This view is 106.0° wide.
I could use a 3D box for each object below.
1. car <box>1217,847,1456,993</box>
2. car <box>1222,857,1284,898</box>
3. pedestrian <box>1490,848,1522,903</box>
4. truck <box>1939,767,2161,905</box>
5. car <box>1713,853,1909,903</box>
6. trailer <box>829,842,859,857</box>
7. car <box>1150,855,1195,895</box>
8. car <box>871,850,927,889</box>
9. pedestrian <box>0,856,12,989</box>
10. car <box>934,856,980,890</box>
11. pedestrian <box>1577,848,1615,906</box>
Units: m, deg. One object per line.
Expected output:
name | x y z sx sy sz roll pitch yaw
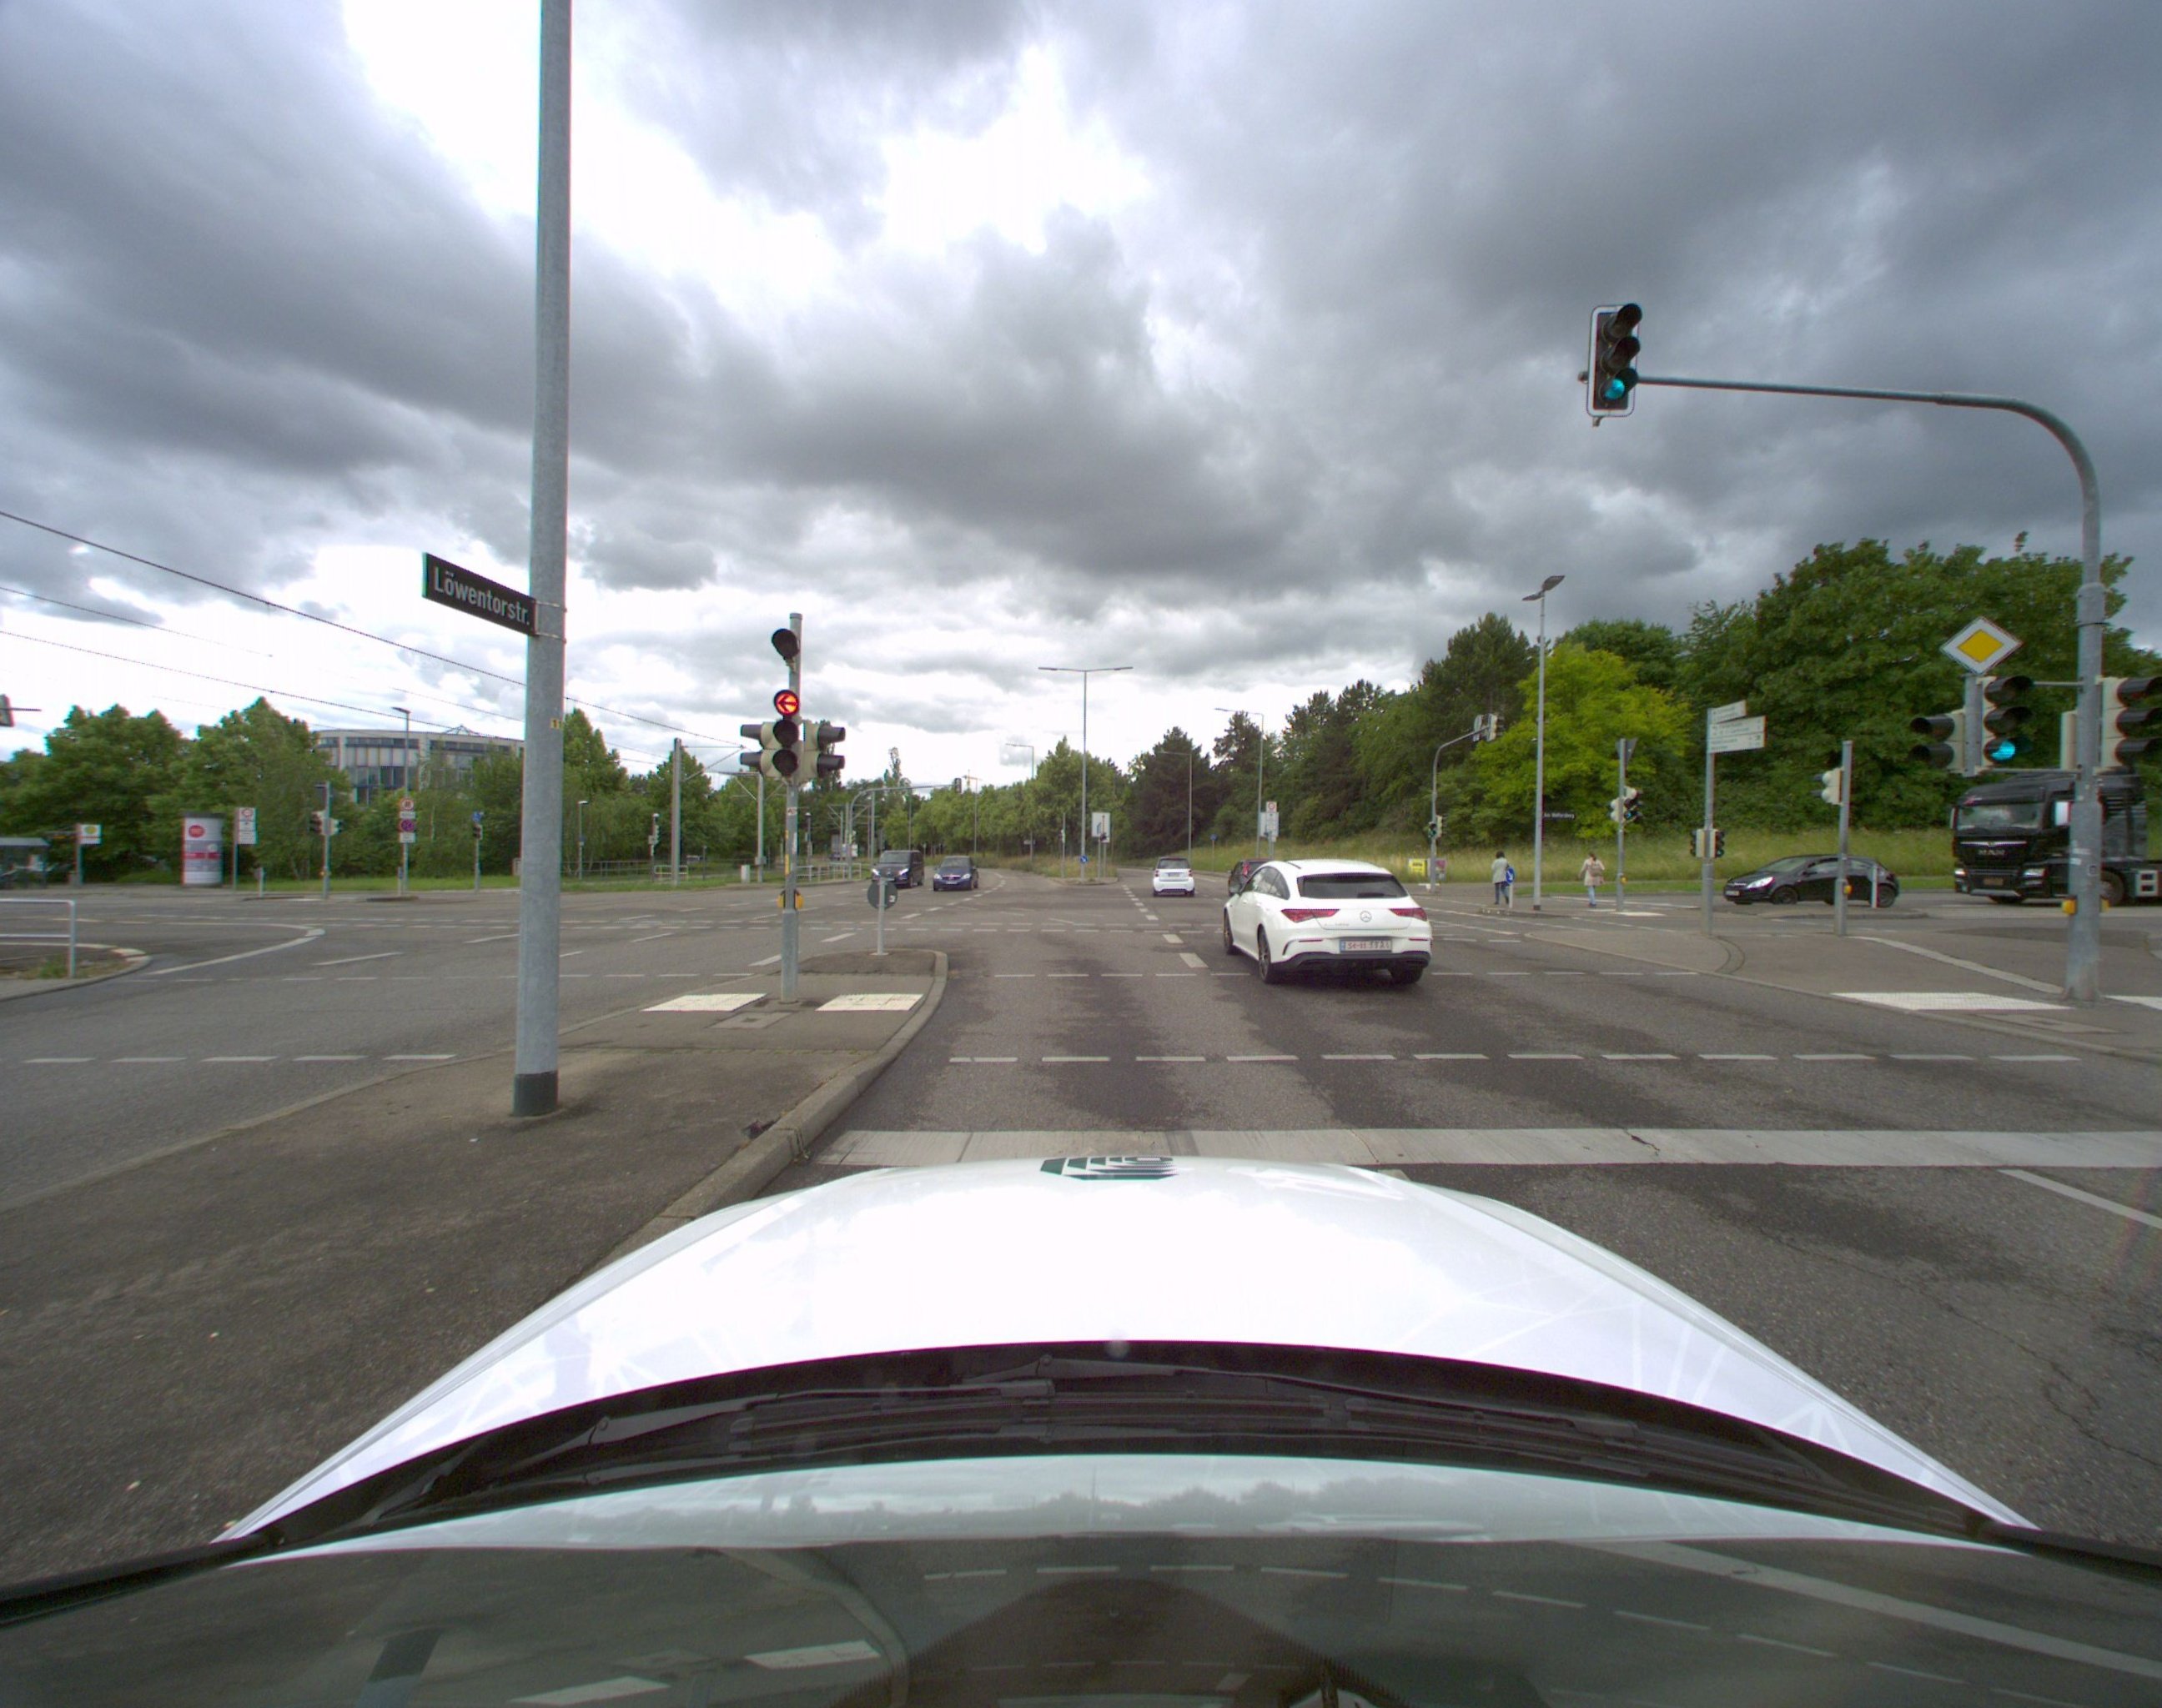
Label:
car | 3.025 0.706 10.712 1.837 1.506 4.532 0 -1 2
car | 6.377 0.841 30.491 1.607 1.453 3.883 0 -1 2
pedestrian | 12.976 0.643 24.869 0.640 1.662 0.715 0 -1 8
truck | 27.986 -0.480 22.260 5.971 3.486 2.694 -1 -1 4
car | 20.301 0.659 22.764 3.859 1.338 1.698 0 -1 4
trailer | -48.154 -0.891 165.539 6.008 3.012 2.773 -1 -1 37
car | 3.553 0.802 32.031 1.585 1.516 2.768 0 -1 3
car | -9.163 0.747 41.361 1.883 1.812 5.087 -1 0 -3
pedestrian | -12.792 0.795 9.132 0.632 1.536 0.719 0 -1 -2
car | -5.775 0.888 38.326 1.732 1.508 3.656 0 -1 -3
pedestrian | 14.583 0.641 23.076 0.640 1.612 0.715 0 -1 7
